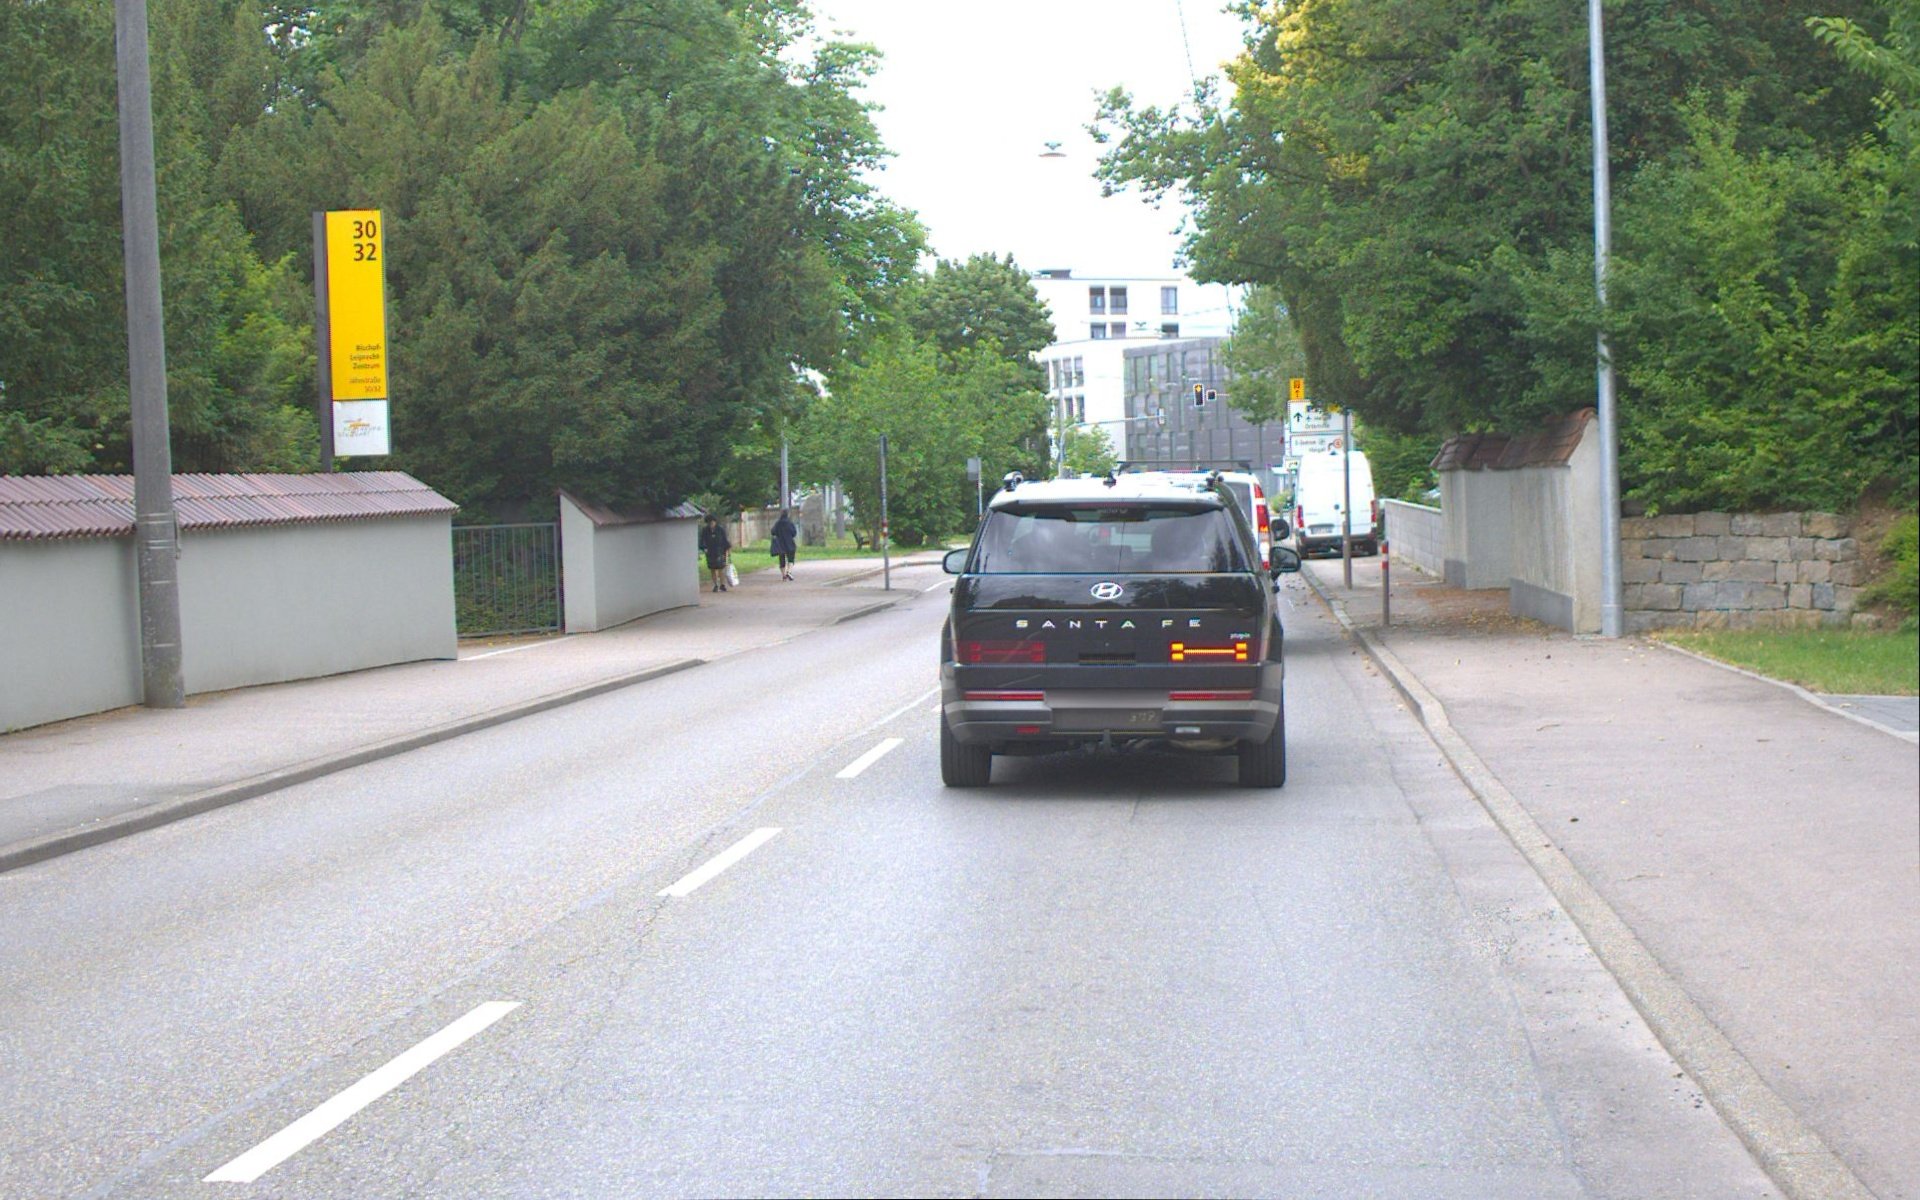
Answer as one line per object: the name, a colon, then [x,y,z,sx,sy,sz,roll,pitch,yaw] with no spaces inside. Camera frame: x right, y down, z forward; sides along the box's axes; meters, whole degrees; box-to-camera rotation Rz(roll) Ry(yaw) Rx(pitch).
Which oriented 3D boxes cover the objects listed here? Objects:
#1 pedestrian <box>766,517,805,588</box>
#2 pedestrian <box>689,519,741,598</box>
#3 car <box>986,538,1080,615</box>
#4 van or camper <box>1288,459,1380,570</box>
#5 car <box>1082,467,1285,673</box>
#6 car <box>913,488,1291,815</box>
pedestrian: [-3.894,-1.075,76.865,0.749,1.572,0.966,0,1,5]
pedestrian: [-4.864,-0.820,68.249,0.925,1.555,0.902,1,0,1]
car: [1.516,-0.498,70.350,1.785,1.423,4.000,-3,1,2]
van or camper: [9.557,-2.206,88.199,1.964,2.619,6.358,-4,1,4]
car: [2.389,-0.337,36.559,1.964,1.994,4.000,-2,1,4]
car: [0.857,0.219,19.962,1.964,1.705,4.000,0,1,3]
